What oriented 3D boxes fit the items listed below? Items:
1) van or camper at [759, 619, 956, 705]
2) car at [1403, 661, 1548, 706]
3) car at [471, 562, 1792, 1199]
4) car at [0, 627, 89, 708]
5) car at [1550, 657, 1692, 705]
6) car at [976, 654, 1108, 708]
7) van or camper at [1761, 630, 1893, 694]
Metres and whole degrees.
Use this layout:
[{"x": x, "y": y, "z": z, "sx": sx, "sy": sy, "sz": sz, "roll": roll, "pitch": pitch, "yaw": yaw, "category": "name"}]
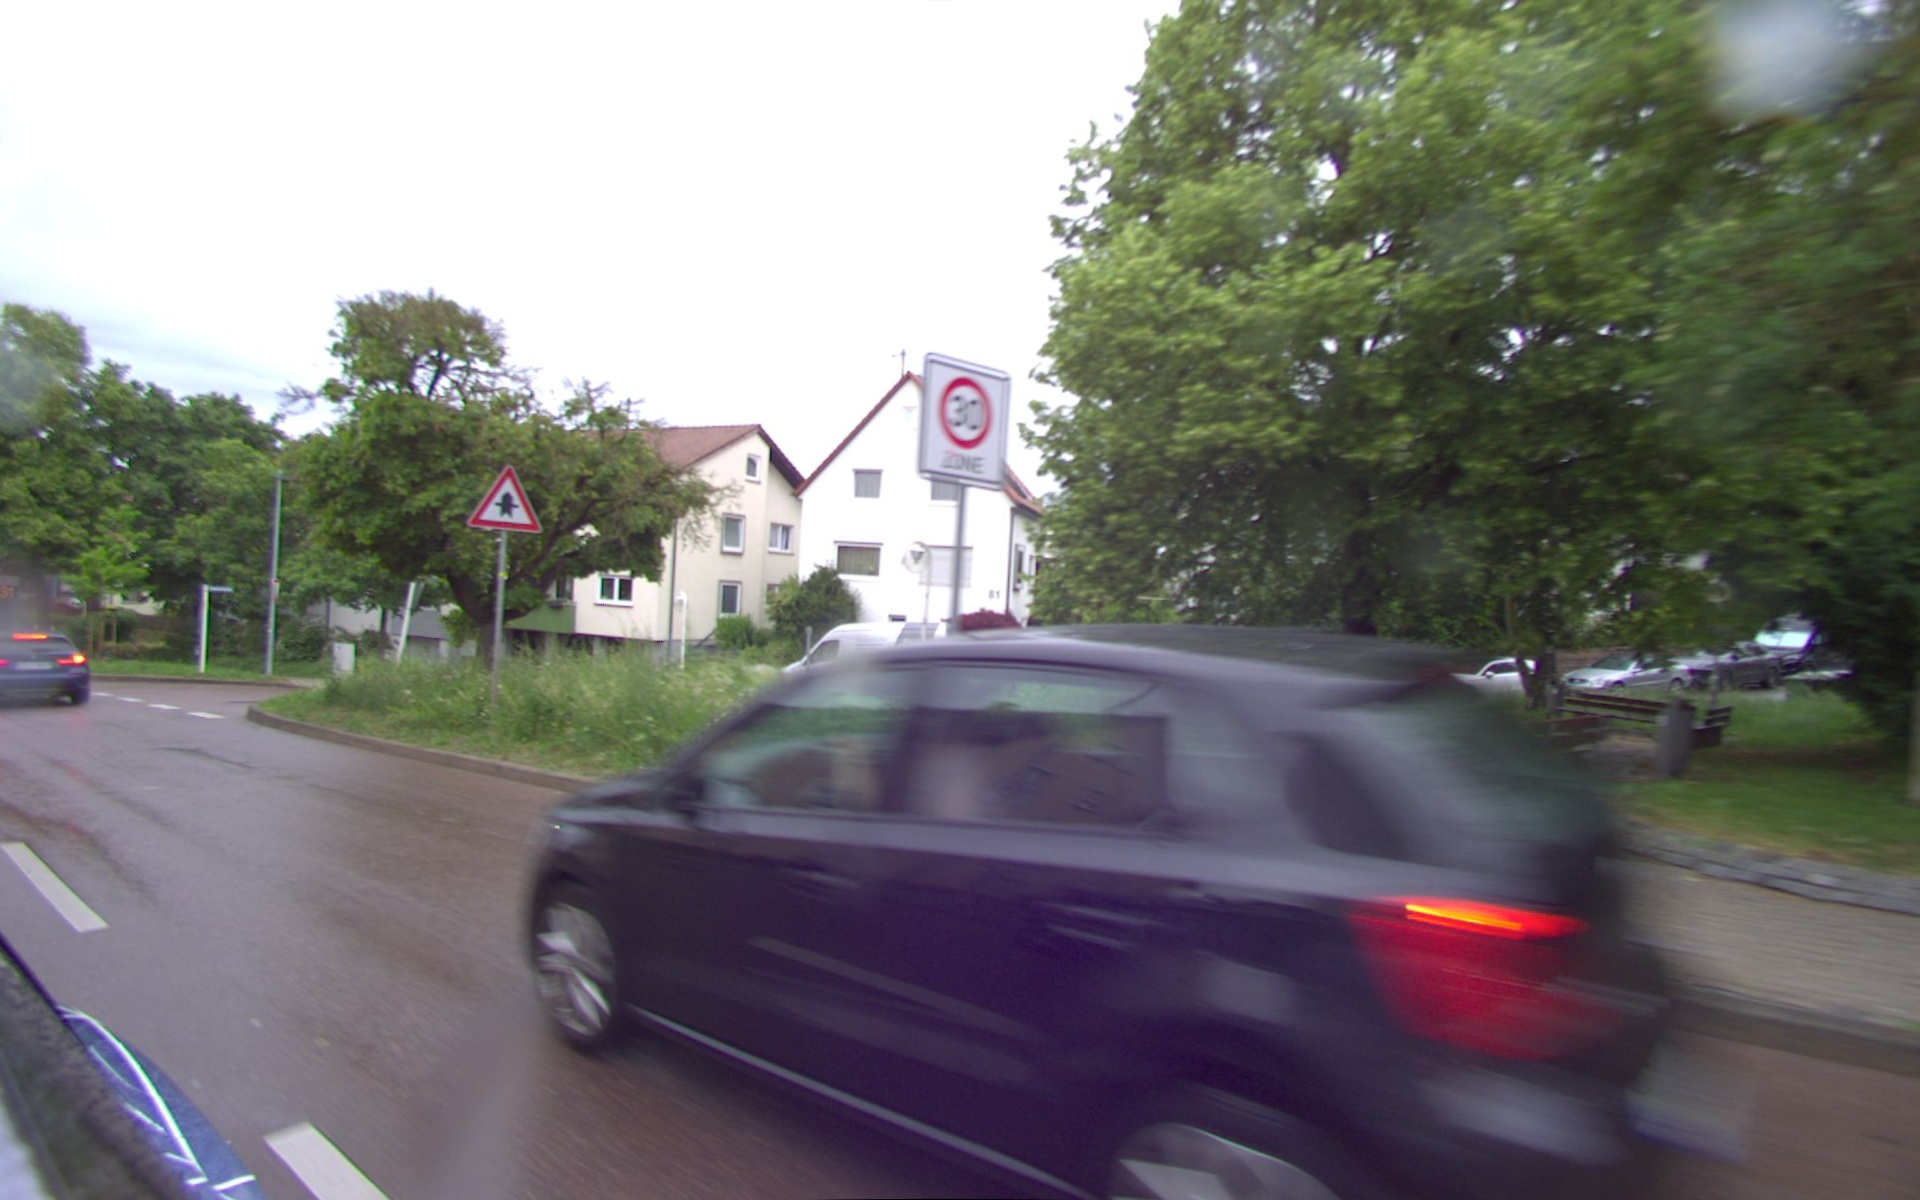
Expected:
[{"x": -3.223, "y": 1.938, "z": 32.126, "sx": 5.998, "sy": 2.576, "sz": 1.636, "roll": -1, "pitch": 0, "yaw": 10, "category": "van or camper"}, {"x": 16.343, "y": 2.608, "z": 32.116, "sx": 3.907, "sy": 1.263, "sz": 1.726, "roll": 0, "pitch": -1, "yaw": -14, "category": "car"}, {"x": 0.143, "y": 0.718, "z": 3.131, "sx": 3.734, "sy": 1.452, "sz": 1.602, "roll": -1, "pitch": -2, "yaw": 40, "category": "car"}, {"x": -18.480, "y": 1.262, "z": 19.761, "sx": 3.843, "sy": 1.440, "sz": 1.701, "roll": -1, "pitch": -2, "yaw": 41, "category": "car"}, {"x": 21.950, "y": 2.652, "z": 33.621, "sx": 3.931, "sy": 1.400, "sz": 1.919, "roll": 0, "pitch": -1, "yaw": -19, "category": "car"}, {"x": 2.533, "y": 2.475, "z": 31.317, "sx": 3.989, "sy": 1.560, "sz": 1.557, "roll": 0, "pitch": -1, "yaw": 6, "category": "car"}, {"x": 32.843, "y": 2.285, "z": 38.316, "sx": 4.973, "sy": 2.213, "sz": 2.006, "roll": 0, "pitch": -1, "yaw": -27, "category": "van or camper"}]
